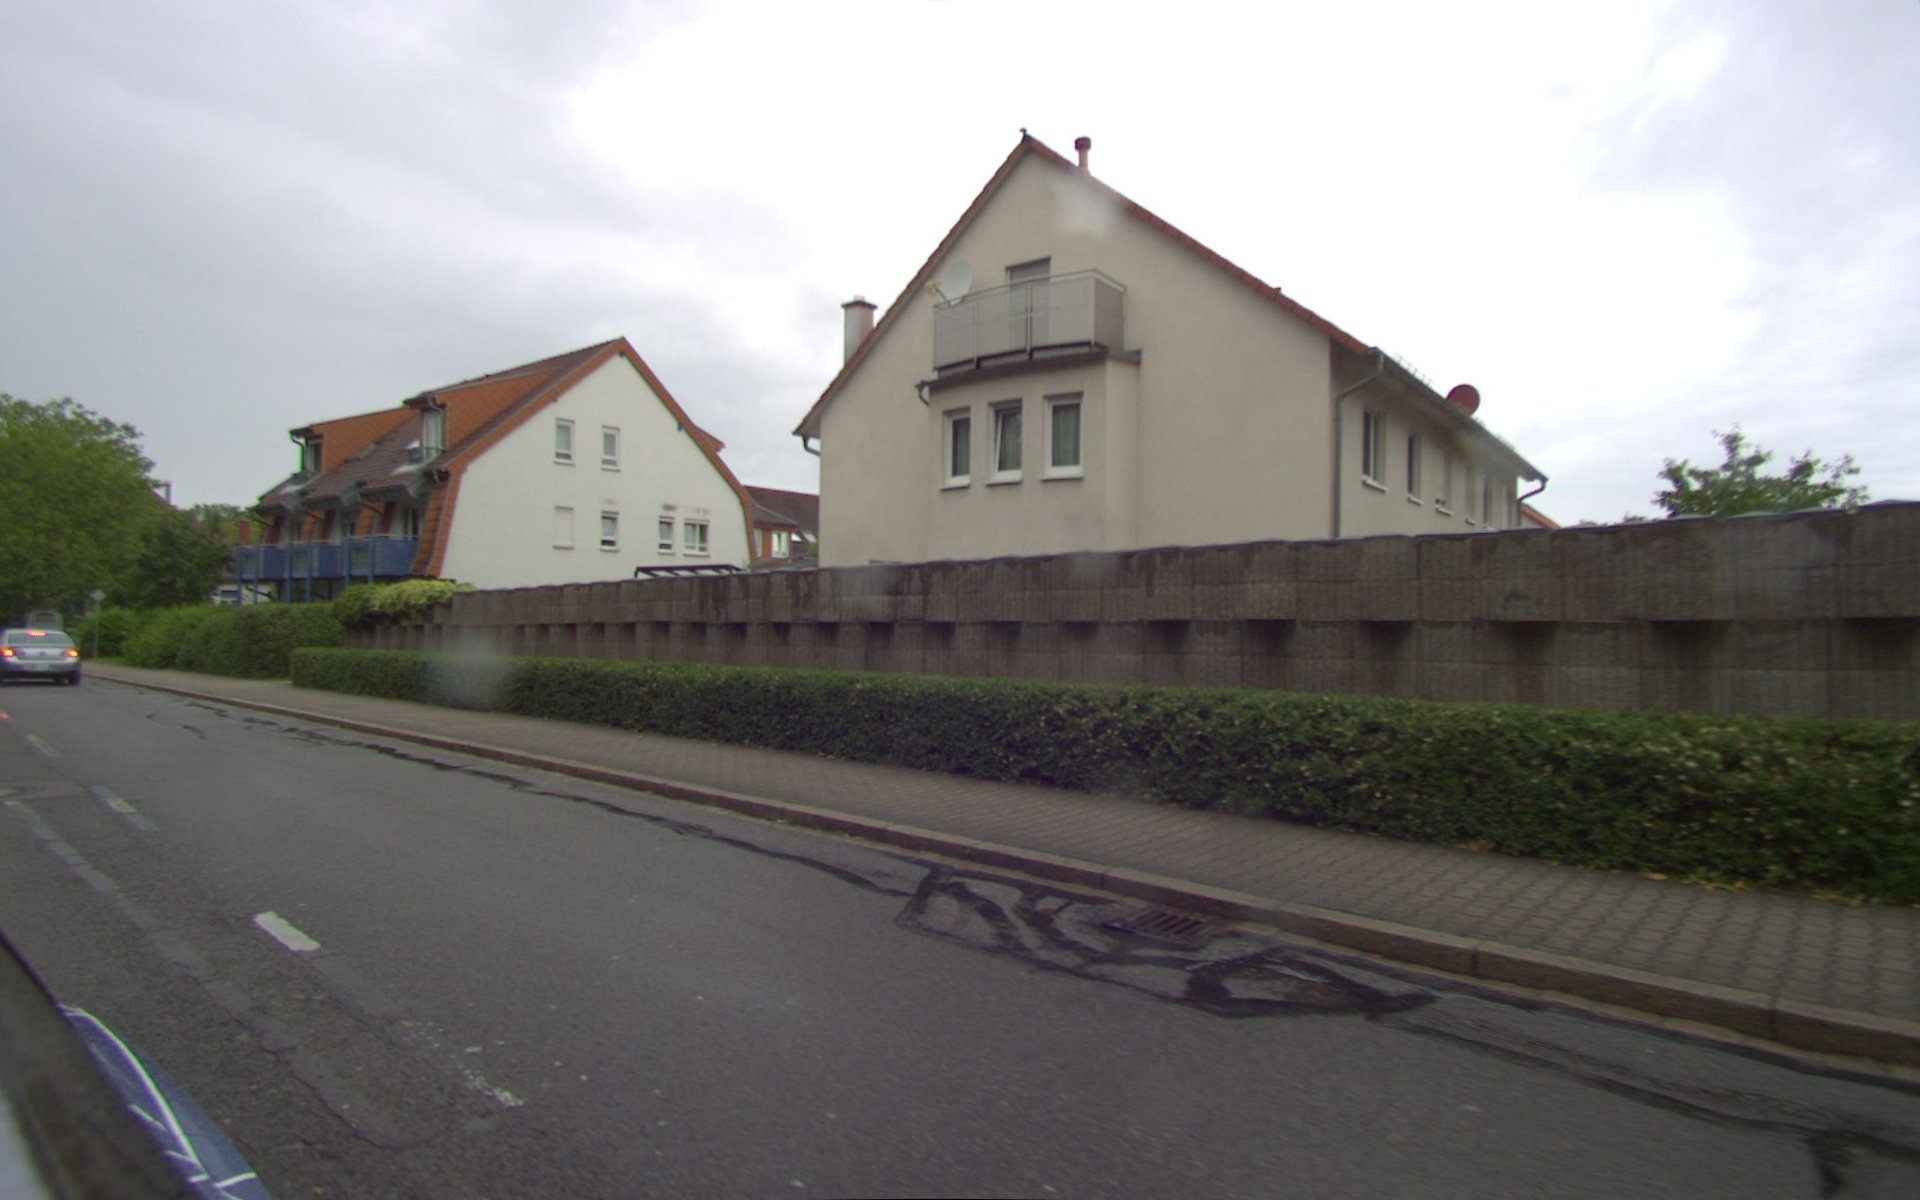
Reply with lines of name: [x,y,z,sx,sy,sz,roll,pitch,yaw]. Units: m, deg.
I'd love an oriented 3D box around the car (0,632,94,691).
car: [-24.791,1.607,26.970,4.484,1.431,1.972,-2,-4,42]
